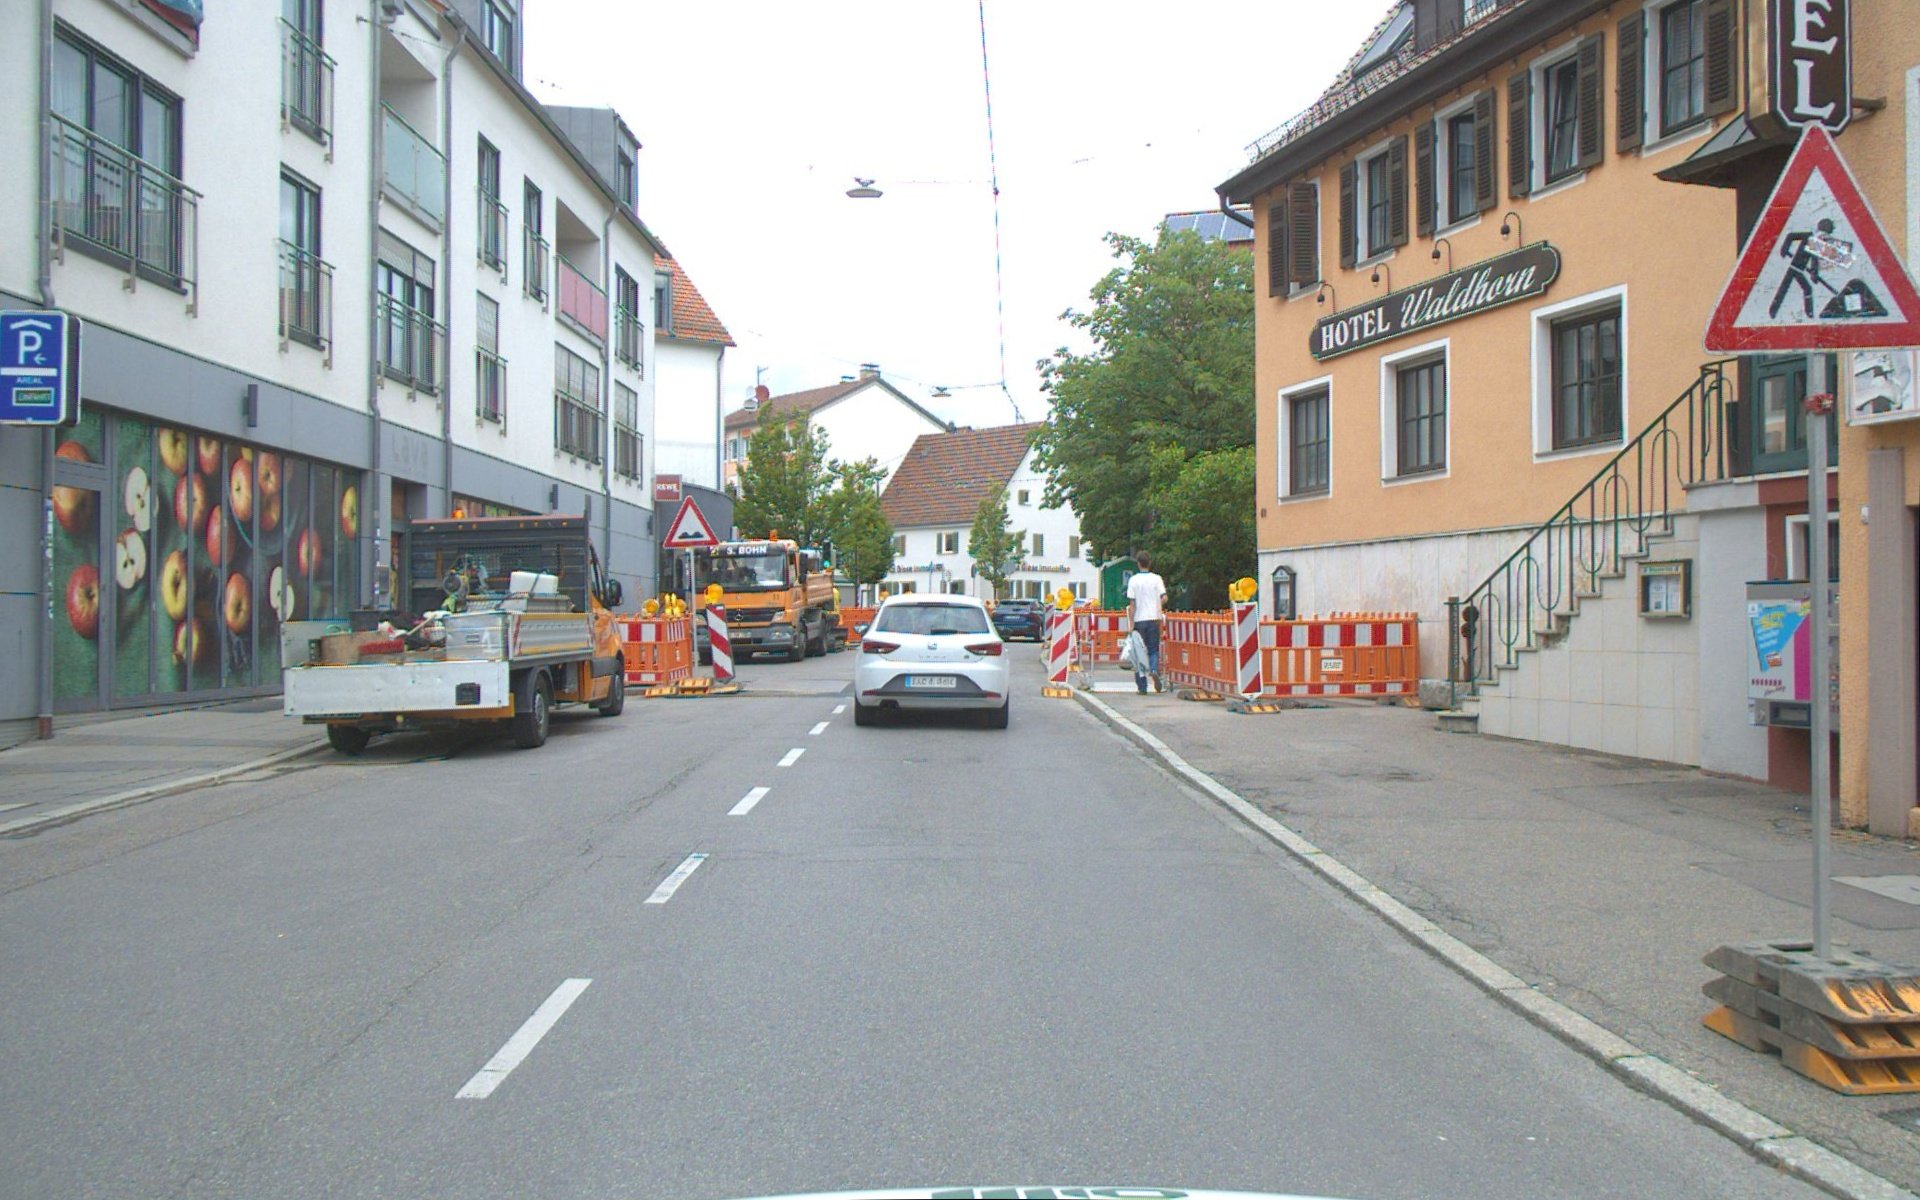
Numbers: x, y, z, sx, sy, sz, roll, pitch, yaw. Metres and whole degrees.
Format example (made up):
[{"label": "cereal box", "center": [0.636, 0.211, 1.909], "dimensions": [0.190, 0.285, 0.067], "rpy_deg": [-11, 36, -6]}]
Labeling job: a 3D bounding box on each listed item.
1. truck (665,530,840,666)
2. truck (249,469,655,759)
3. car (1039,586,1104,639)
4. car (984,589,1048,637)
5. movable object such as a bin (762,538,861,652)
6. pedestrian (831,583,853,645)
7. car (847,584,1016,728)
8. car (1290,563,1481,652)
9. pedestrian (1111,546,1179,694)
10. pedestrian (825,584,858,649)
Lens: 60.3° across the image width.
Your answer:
[{"label": "truck", "center": [-4.525, -0.071, 37.478], "dimensions": [2.674, 2.772, 6.851], "rpy_deg": [-1, 1, 4]}, {"label": "truck", "center": [-5.062, 0.083, 17.754], "dimensions": [2.364, 2.509, 6.308], "rpy_deg": [-1, 1, 0]}, {"label": "car", "center": [4.503, 0.497, 66.377], "dimensions": [1.951, 2.049, 4.003], "rpy_deg": [-1, 0, 13]}, {"label": "car", "center": [1.908, 0.397, 55.386], "dimensions": [1.773, 1.506, 3.873], "rpy_deg": [-1, 1, 7]}, {"label": "movable object such as a bin", "center": [-3.835, -0.089, 43.507], "dimensions": [1.800, 2.812, 4.508], "rpy_deg": [-1, -1, 5]}, {"label": "pedestrian", "center": [-3.358, 0.399, 47.111], "dimensions": [0.526, 1.774, 0.444], "rpy_deg": [-1, 0, 7]}, {"label": "car", "center": [-0.293, 0.566, 19.319], "dimensions": [1.774, 1.506, 3.870], "rpy_deg": [0, 1, 0]}, {"label": "car", "center": [10.368, 0.171, 40.309], "dimensions": [4.135, 2.069, 1.996], "rpy_deg": [0, 0, 30]}, {"label": "pedestrian", "center": [2.533, 0.260, 22.739], "dimensions": [0.782, 1.984, 0.836], "rpy_deg": [-1, 0, -2]}, {"label": "pedestrian", "center": [-3.380, 0.474, 47.191], "dimensions": [0.797, 1.847, 0.744], "rpy_deg": [0, 0, 6]}]
